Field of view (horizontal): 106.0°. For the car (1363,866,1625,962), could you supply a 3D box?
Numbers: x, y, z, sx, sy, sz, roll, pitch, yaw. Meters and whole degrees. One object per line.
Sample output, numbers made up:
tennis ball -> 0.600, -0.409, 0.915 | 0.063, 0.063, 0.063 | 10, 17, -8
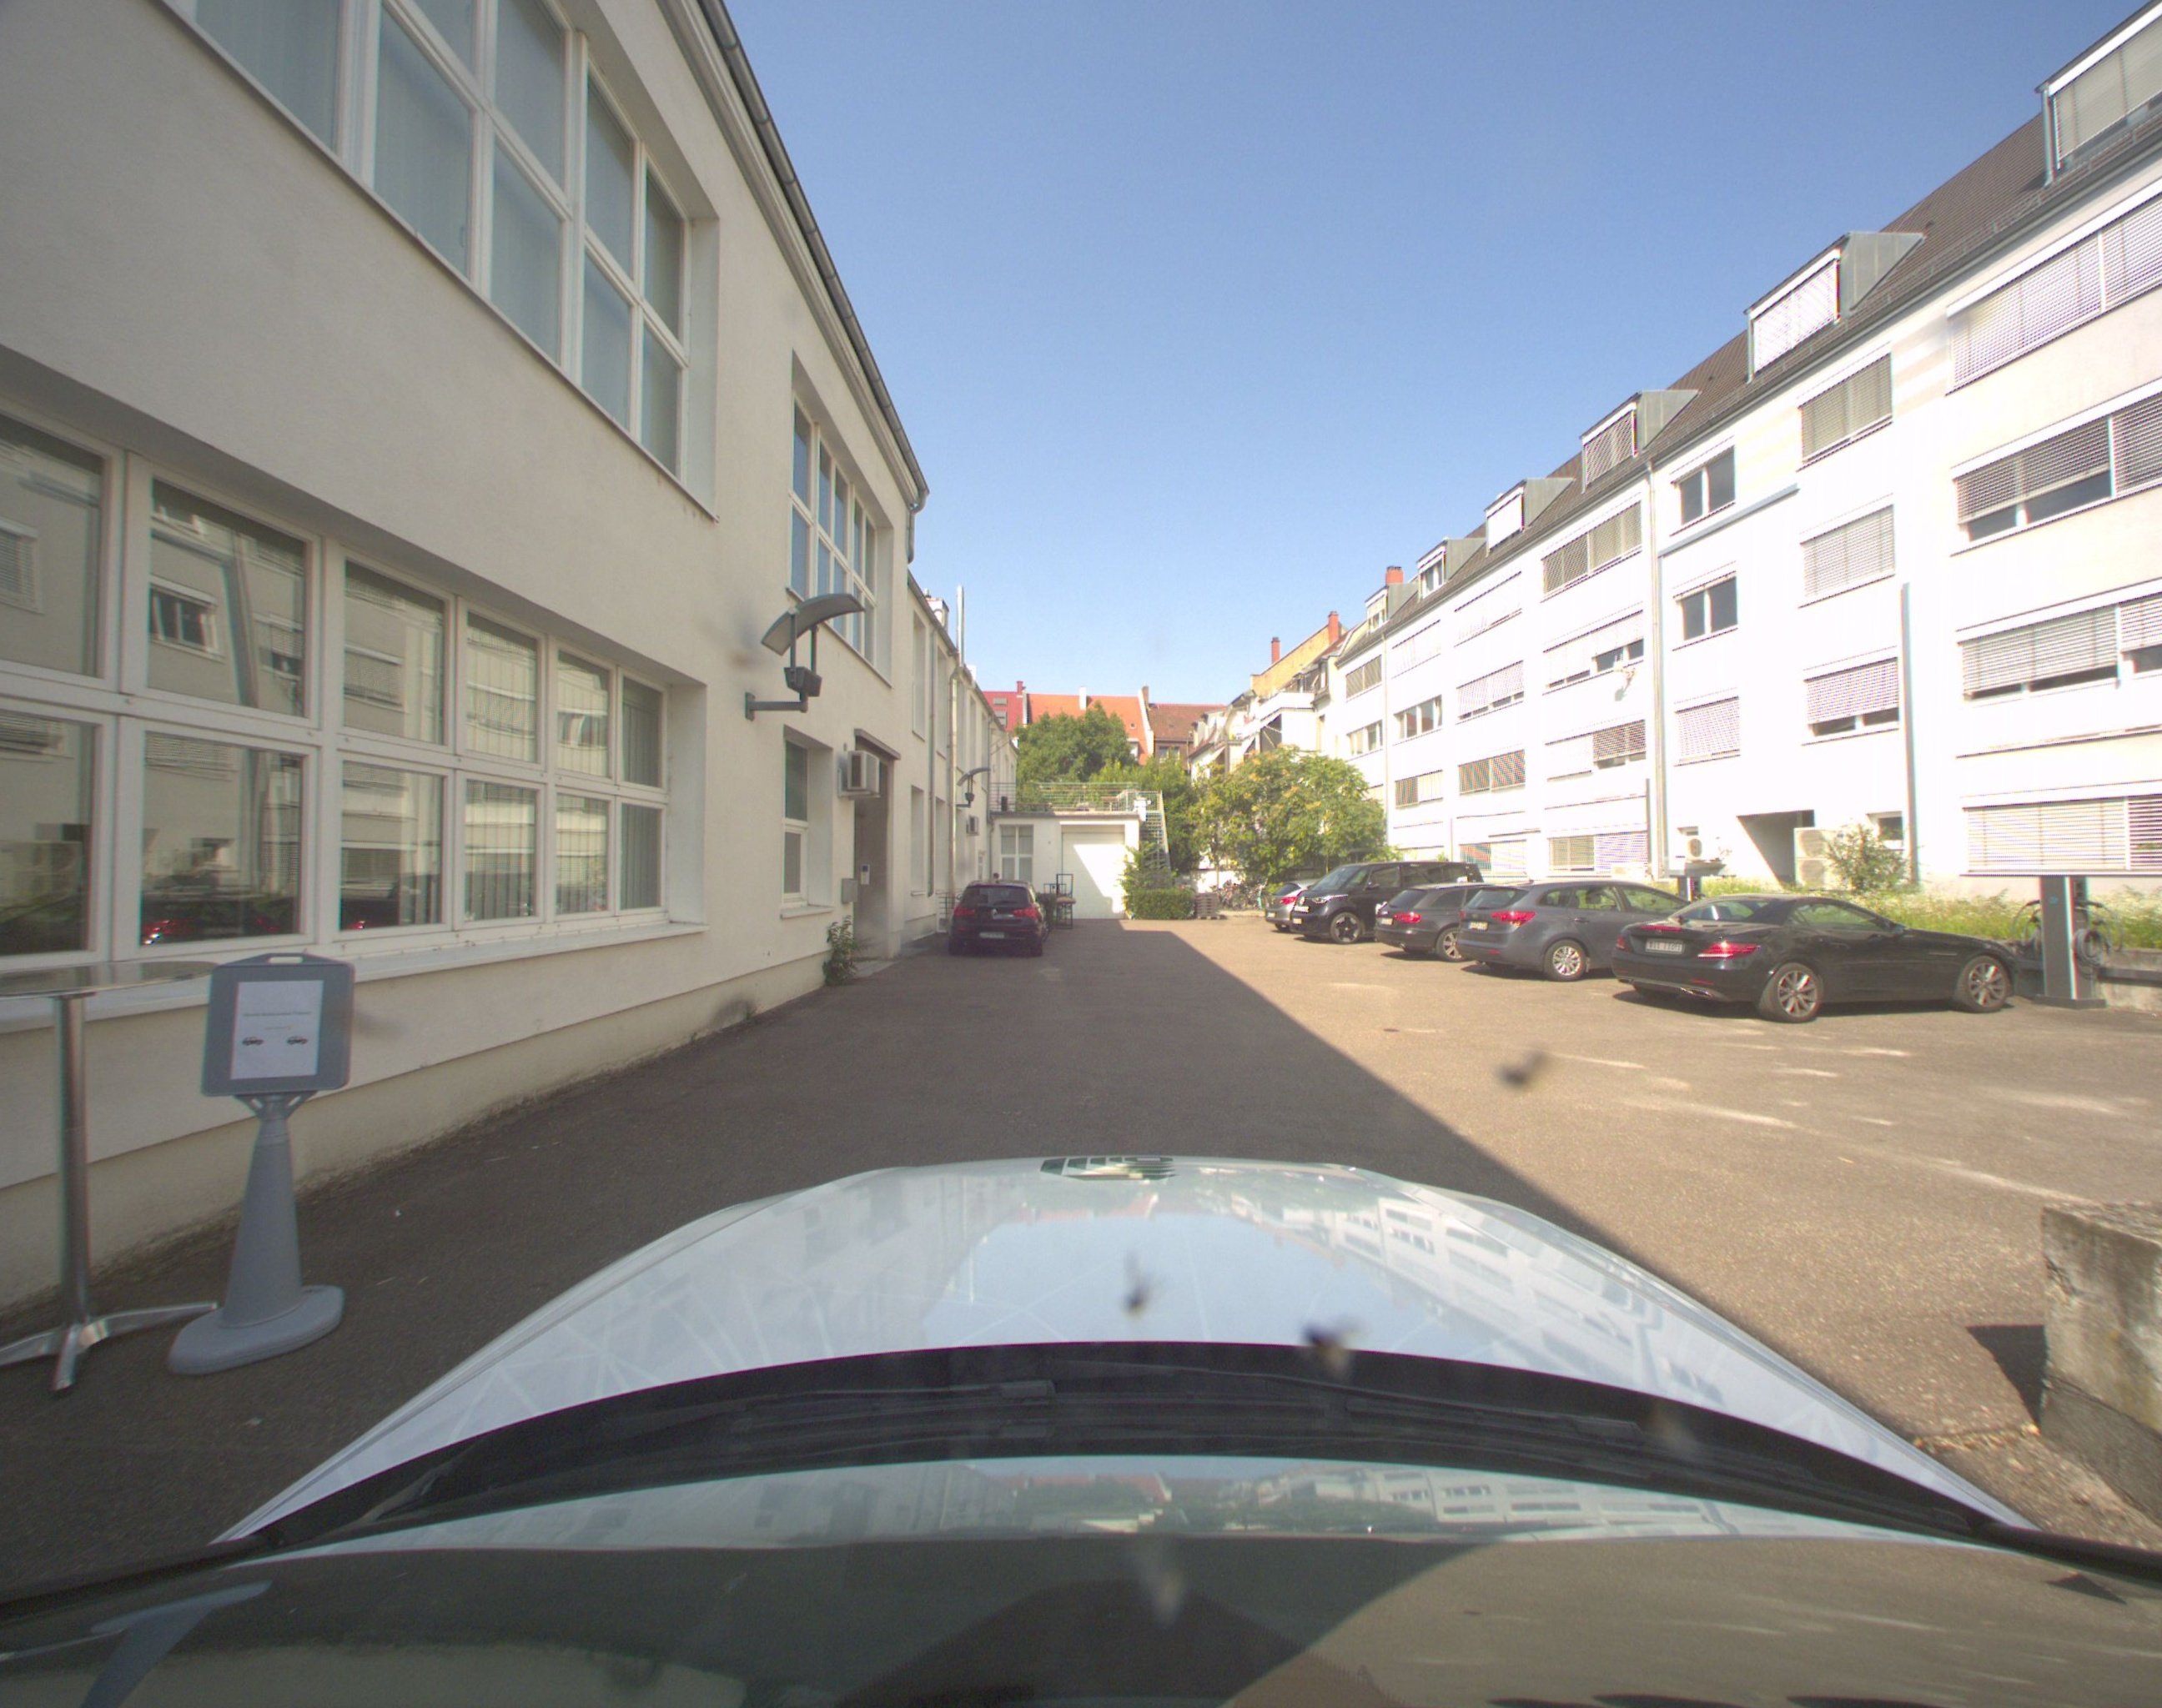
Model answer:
car -> 7.707, 1.113, 15.460 | 4.106, 1.692, 1.769 | 0, -2, -2

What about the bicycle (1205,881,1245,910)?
bicycle -> 6.139, 1.760, 34.667 | 1.611, 1.214, 0.328 | -1, -2, 13

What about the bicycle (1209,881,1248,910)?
bicycle -> 6.210, 1.747, 34.303 | 1.613, 1.214, 0.328 | -1, -2, 10

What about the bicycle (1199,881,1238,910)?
bicycle -> 5.963, 1.785, 35.345 | 1.618, 1.214, 0.424 | -1, -2, 0

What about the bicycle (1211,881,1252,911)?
bicycle -> 6.190, 1.719, 33.559 | 1.617, 1.214, 0.327 | -1, -2, 2

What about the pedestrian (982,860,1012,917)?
pedestrian -> -2.975, 1.228, 28.992 | 0.910, 2.014, 0.935 | 0, -2, 1

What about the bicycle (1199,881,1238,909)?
bicycle -> 6.059, 1.809, 35.978 | 1.620, 1.214, 0.423 | -1, -2, -5

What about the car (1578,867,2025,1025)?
car -> 8.170, 0.982, 9.434 | 3.798, 1.589, 1.891 | 1, -2, -9

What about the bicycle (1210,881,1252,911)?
bicycle -> 6.118, 1.707, 33.238 | 1.617, 1.214, 0.327 | -1, -2, 2

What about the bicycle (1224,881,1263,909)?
bicycle -> 7.114, 1.803, 35.633 | 1.612, 1.214, 0.425 | -1, -2, 13

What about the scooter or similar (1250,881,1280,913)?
scooter or similar -> 7.441, 1.712, 32.984 | 0.381, 1.261, 1.335 | 0, -2, -31

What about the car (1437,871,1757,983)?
car -> 7.848, 1.089, 12.638 | 3.855, 1.589, 1.876 | 1, -2, -5

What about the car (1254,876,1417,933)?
car -> 6.987, 1.365, 22.547 | 3.930, 1.482, 1.769 | 0, -3, -9

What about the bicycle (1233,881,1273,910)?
bicycle -> 7.209, 1.750, 34.196 | 1.611, 1.214, 0.328 | -1, -2, 15

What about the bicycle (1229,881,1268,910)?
bicycle -> 7.205, 1.782, 35.055 | 1.611, 1.214, 0.425 | -1, -2, 13

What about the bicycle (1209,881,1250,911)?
bicycle -> 6.166, 1.730, 33.853 | 1.617, 1.214, 0.327 | -1, -2, 2

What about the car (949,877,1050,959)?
car -> -1.531, 1.213, 16.574 | 1.683, 1.459, 3.921 | 0, -2, -1

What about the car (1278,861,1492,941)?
car -> 7.267, 1.100, 19.669 | 4.498, 1.795, 1.877 | 0, -3, -9

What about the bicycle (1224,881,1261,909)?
bicycle -> 7.276, 1.842, 36.657 | 1.612, 1.214, 0.425 | -1, -2, 13
